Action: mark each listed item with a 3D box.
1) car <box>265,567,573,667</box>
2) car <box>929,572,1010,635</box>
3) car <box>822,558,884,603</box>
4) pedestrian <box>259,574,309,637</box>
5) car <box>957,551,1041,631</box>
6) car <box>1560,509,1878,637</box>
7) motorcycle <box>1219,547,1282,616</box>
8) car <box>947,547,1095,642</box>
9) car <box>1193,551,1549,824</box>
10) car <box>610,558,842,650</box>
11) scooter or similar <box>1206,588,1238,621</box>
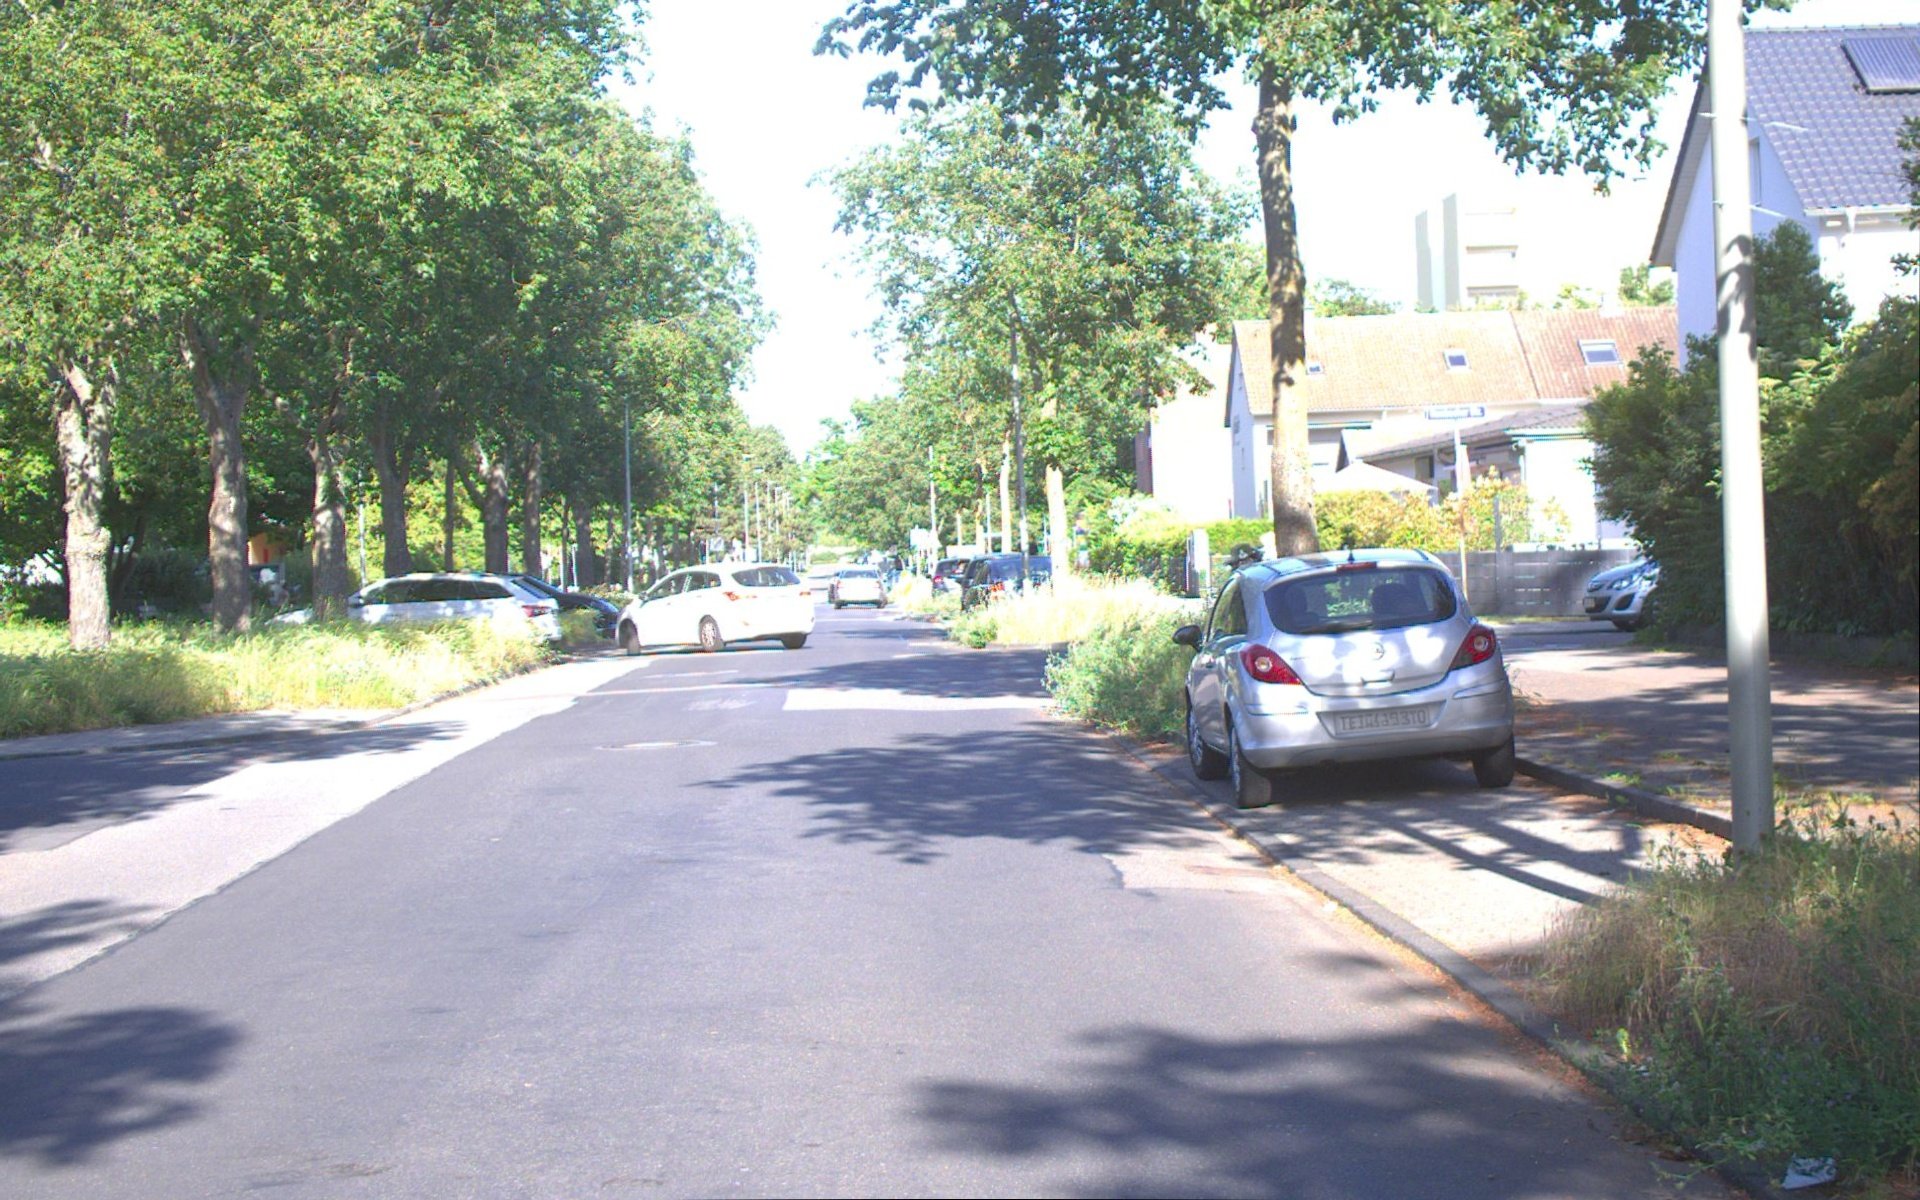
[{"bbox_3d":[-8.757,0.262,55.921,4.671,1.498,2.000,-1,0,0],"label":"car"},{"bbox_3d":[0.263,0.117,101.151,1.993,1.722,4.000,-3,0,-4],"label":"car"},{"bbox_3d":[-3.714,-0.664,118.808,1.993,1.503,3.659,1,0,-3],"label":"car"},{"bbox_3d":[-19.546,0.156,99.380,1.224,1.821,1.551,0,0,-18],"label":"pedestrian"},{"bbox_3d":[0.817,-0.194,74.010,1.610,1.616,4.382,1,0,-1],"label":"car"},{"bbox_3d":[10.713,-0.391,48.640,3.986,1.634,1.777,-2,1,-8],"label":"car"},{"bbox_3d":[5.440,-0.358,64.473,0.818,1.223,2.352,-3,1,-2],"label":"motorcycle"},{"bbox_3d":[1.066,-0.100,62.247,1.993,1.616,4.382,1,0,-8],"label":"car"},{"bbox_3d":[2.570,0.511,22.031,1.994,1.505,3.999,-3,0,5],"label":"car"},{"bbox_3d":[-4.005,0.071,58.238,1.994,1.450,4.224,-2,1,-35],"label":"car"},{"bbox_3d":[6.766,0.117,88.746,0.368,0.855,1.412,0,0,-15],"label":"scooter or similar"}]
